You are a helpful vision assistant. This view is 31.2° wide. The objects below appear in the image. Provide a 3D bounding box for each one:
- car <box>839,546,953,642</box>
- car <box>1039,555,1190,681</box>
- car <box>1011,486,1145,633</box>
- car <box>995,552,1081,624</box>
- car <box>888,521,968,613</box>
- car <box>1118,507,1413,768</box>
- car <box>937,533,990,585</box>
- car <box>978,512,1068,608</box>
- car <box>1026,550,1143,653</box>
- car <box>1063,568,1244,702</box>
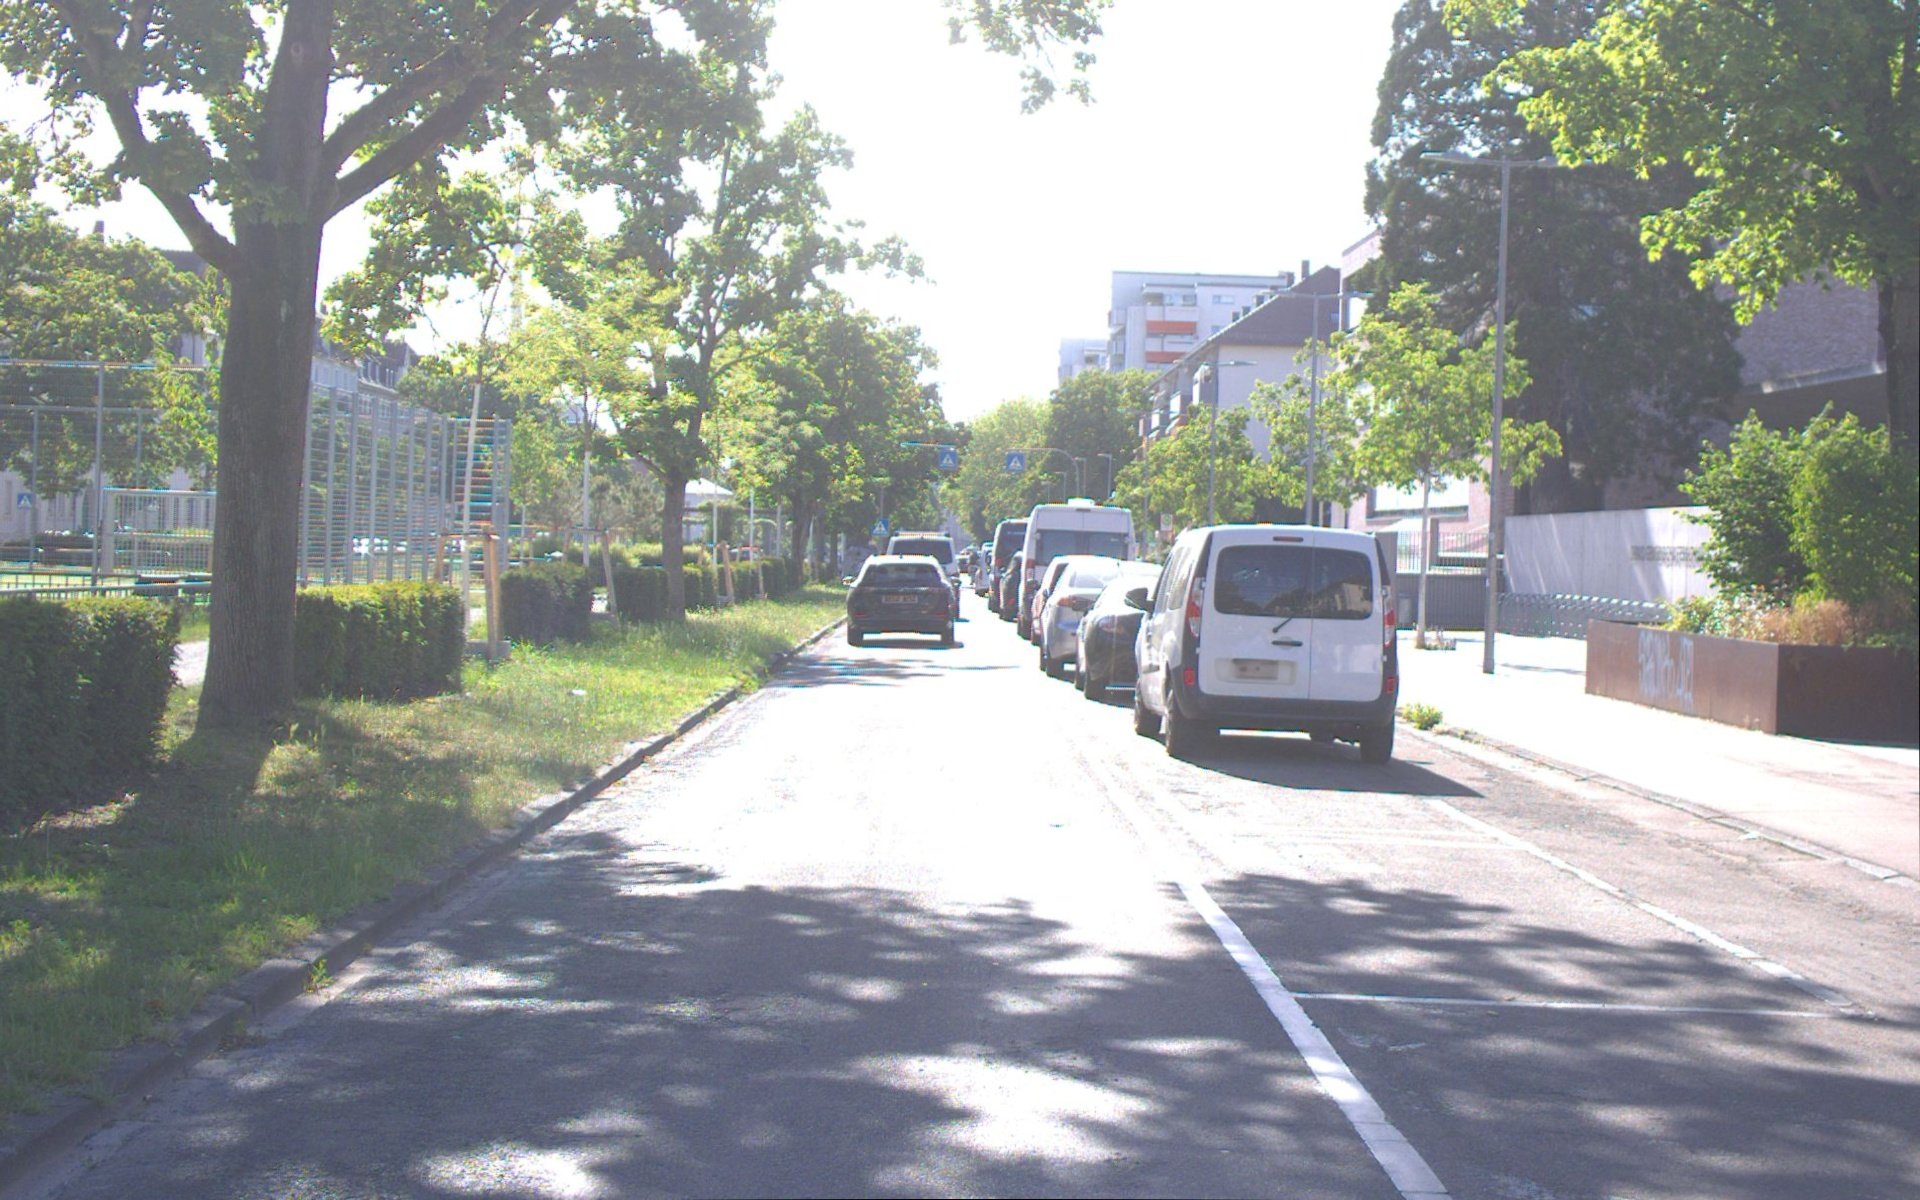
[{"bbox_3d":[-1.040,-0.122,58.076,1.794,1.505,4.000,2,1,0],"label":"car"},{"bbox_3d":[1.960,0.193,44.578,1.701,1.473,4.174,3,1,0],"label":"car"},{"bbox_3d":[2.179,-0.767,64.946,2.241,2.565,5.432,2,1,0],"label":"car"},{"bbox_3d":[1.834,-0.307,82.189,1.846,1.634,4.504,2,1,-1],"label":"car"},{"bbox_3d":[-0.750,-0.801,82.850,1.794,2.115,4.000,2,1,0],"label":"car"},{"bbox_3d":[2.418,0.249,28.271,1.808,1.902,4.462,3,1,-2],"label":"car"},{"bbox_3d":[0.148,-1.541,128.151,1.794,1.848,4.413,2,1,2],"label":"car"},{"bbox_3d":[1.694,-1.107,94.718,2.115,2.507,6.532,2,1,-2],"label":"car"},{"bbox_3d":[2.053,0.000,57.349,1.619,1.583,3.592,2,1,-2],"label":"car"},{"bbox_3d":[2.112,0.355,38.470,1.701,1.321,4.130,2,1,-1],"label":"car"}]
